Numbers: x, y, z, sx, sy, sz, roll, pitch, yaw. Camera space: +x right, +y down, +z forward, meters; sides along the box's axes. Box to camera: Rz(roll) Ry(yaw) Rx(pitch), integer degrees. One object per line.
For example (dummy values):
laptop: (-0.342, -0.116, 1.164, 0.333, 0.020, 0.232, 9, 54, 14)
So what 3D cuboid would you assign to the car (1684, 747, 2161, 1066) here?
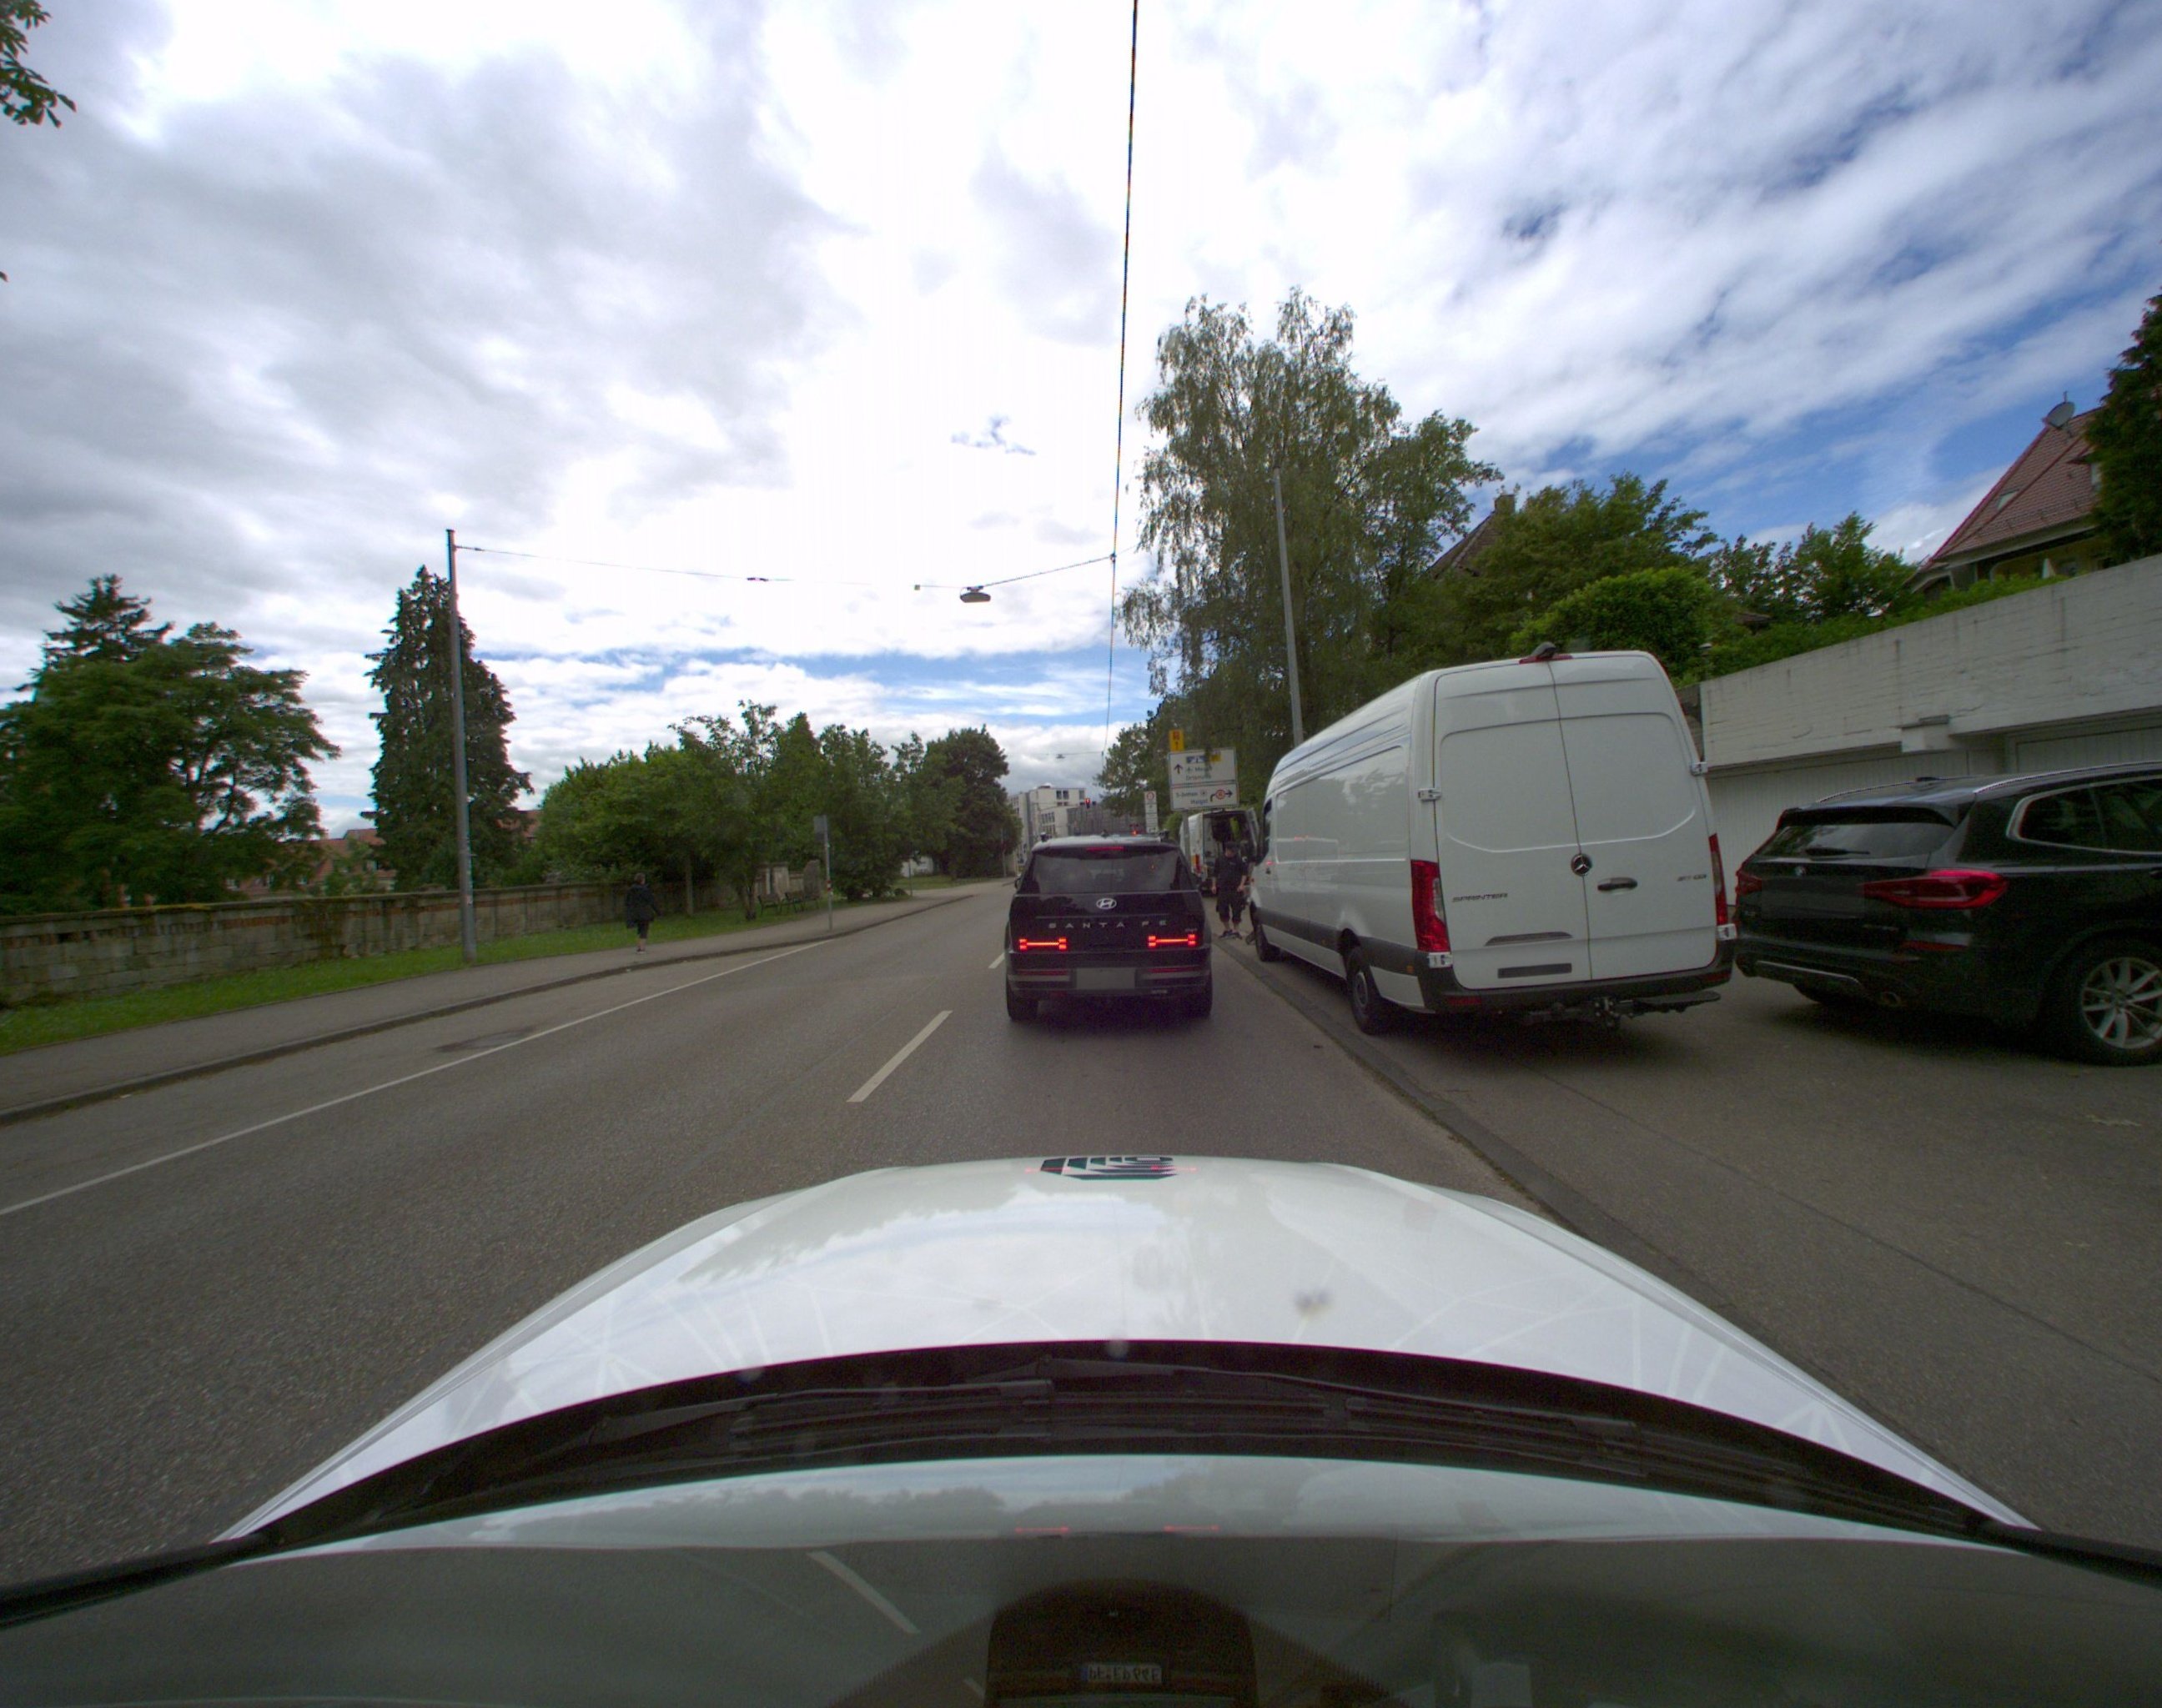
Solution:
car: (6.850, 0.182, 5.296, 4.376, 1.652, 1.831, -4, 0, 2)

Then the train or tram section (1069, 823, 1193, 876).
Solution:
train or tram section: (4.574, -0.215, 83.380, 3.212, 4.523, 18.508, -1, -2, -28)

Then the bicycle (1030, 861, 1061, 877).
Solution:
bicycle: (-2.974, 1.278, 68.424, 2.487, 1.279, 0.676, -2, -2, -3)

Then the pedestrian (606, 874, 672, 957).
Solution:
pedestrian: (-8.973, 1.229, 16.557, 0.746, 1.578, 0.967, -2, 0, 1)

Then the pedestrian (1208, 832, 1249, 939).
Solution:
pedestrian: (2.490, 0.527, 13.734, 0.600, 1.743, 0.621, -2, -2, 9)

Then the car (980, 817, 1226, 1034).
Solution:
car: (0.219, 0.588, 8.670, 1.957, 1.711, 4.001, -2, 0, 1)

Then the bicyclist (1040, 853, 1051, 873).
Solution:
bicyclist: (-2.975, 0.781, 68.441, 0.854, 1.659, 0.676, -2, -2, -3)

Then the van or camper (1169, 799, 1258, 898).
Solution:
van or camper: (4.245, -0.151, 26.939, 1.957, 2.797, 5.288, -5, 0, 1)

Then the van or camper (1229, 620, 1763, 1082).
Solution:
van or camper: (3.093, -0.016, 8.124, 1.957, 2.627, 6.359, -5, 0, 1)

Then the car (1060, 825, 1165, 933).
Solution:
car: (0.642, 0.490, 17.613, 1.957, 2.001, 4.001, -2, 0, 1)
